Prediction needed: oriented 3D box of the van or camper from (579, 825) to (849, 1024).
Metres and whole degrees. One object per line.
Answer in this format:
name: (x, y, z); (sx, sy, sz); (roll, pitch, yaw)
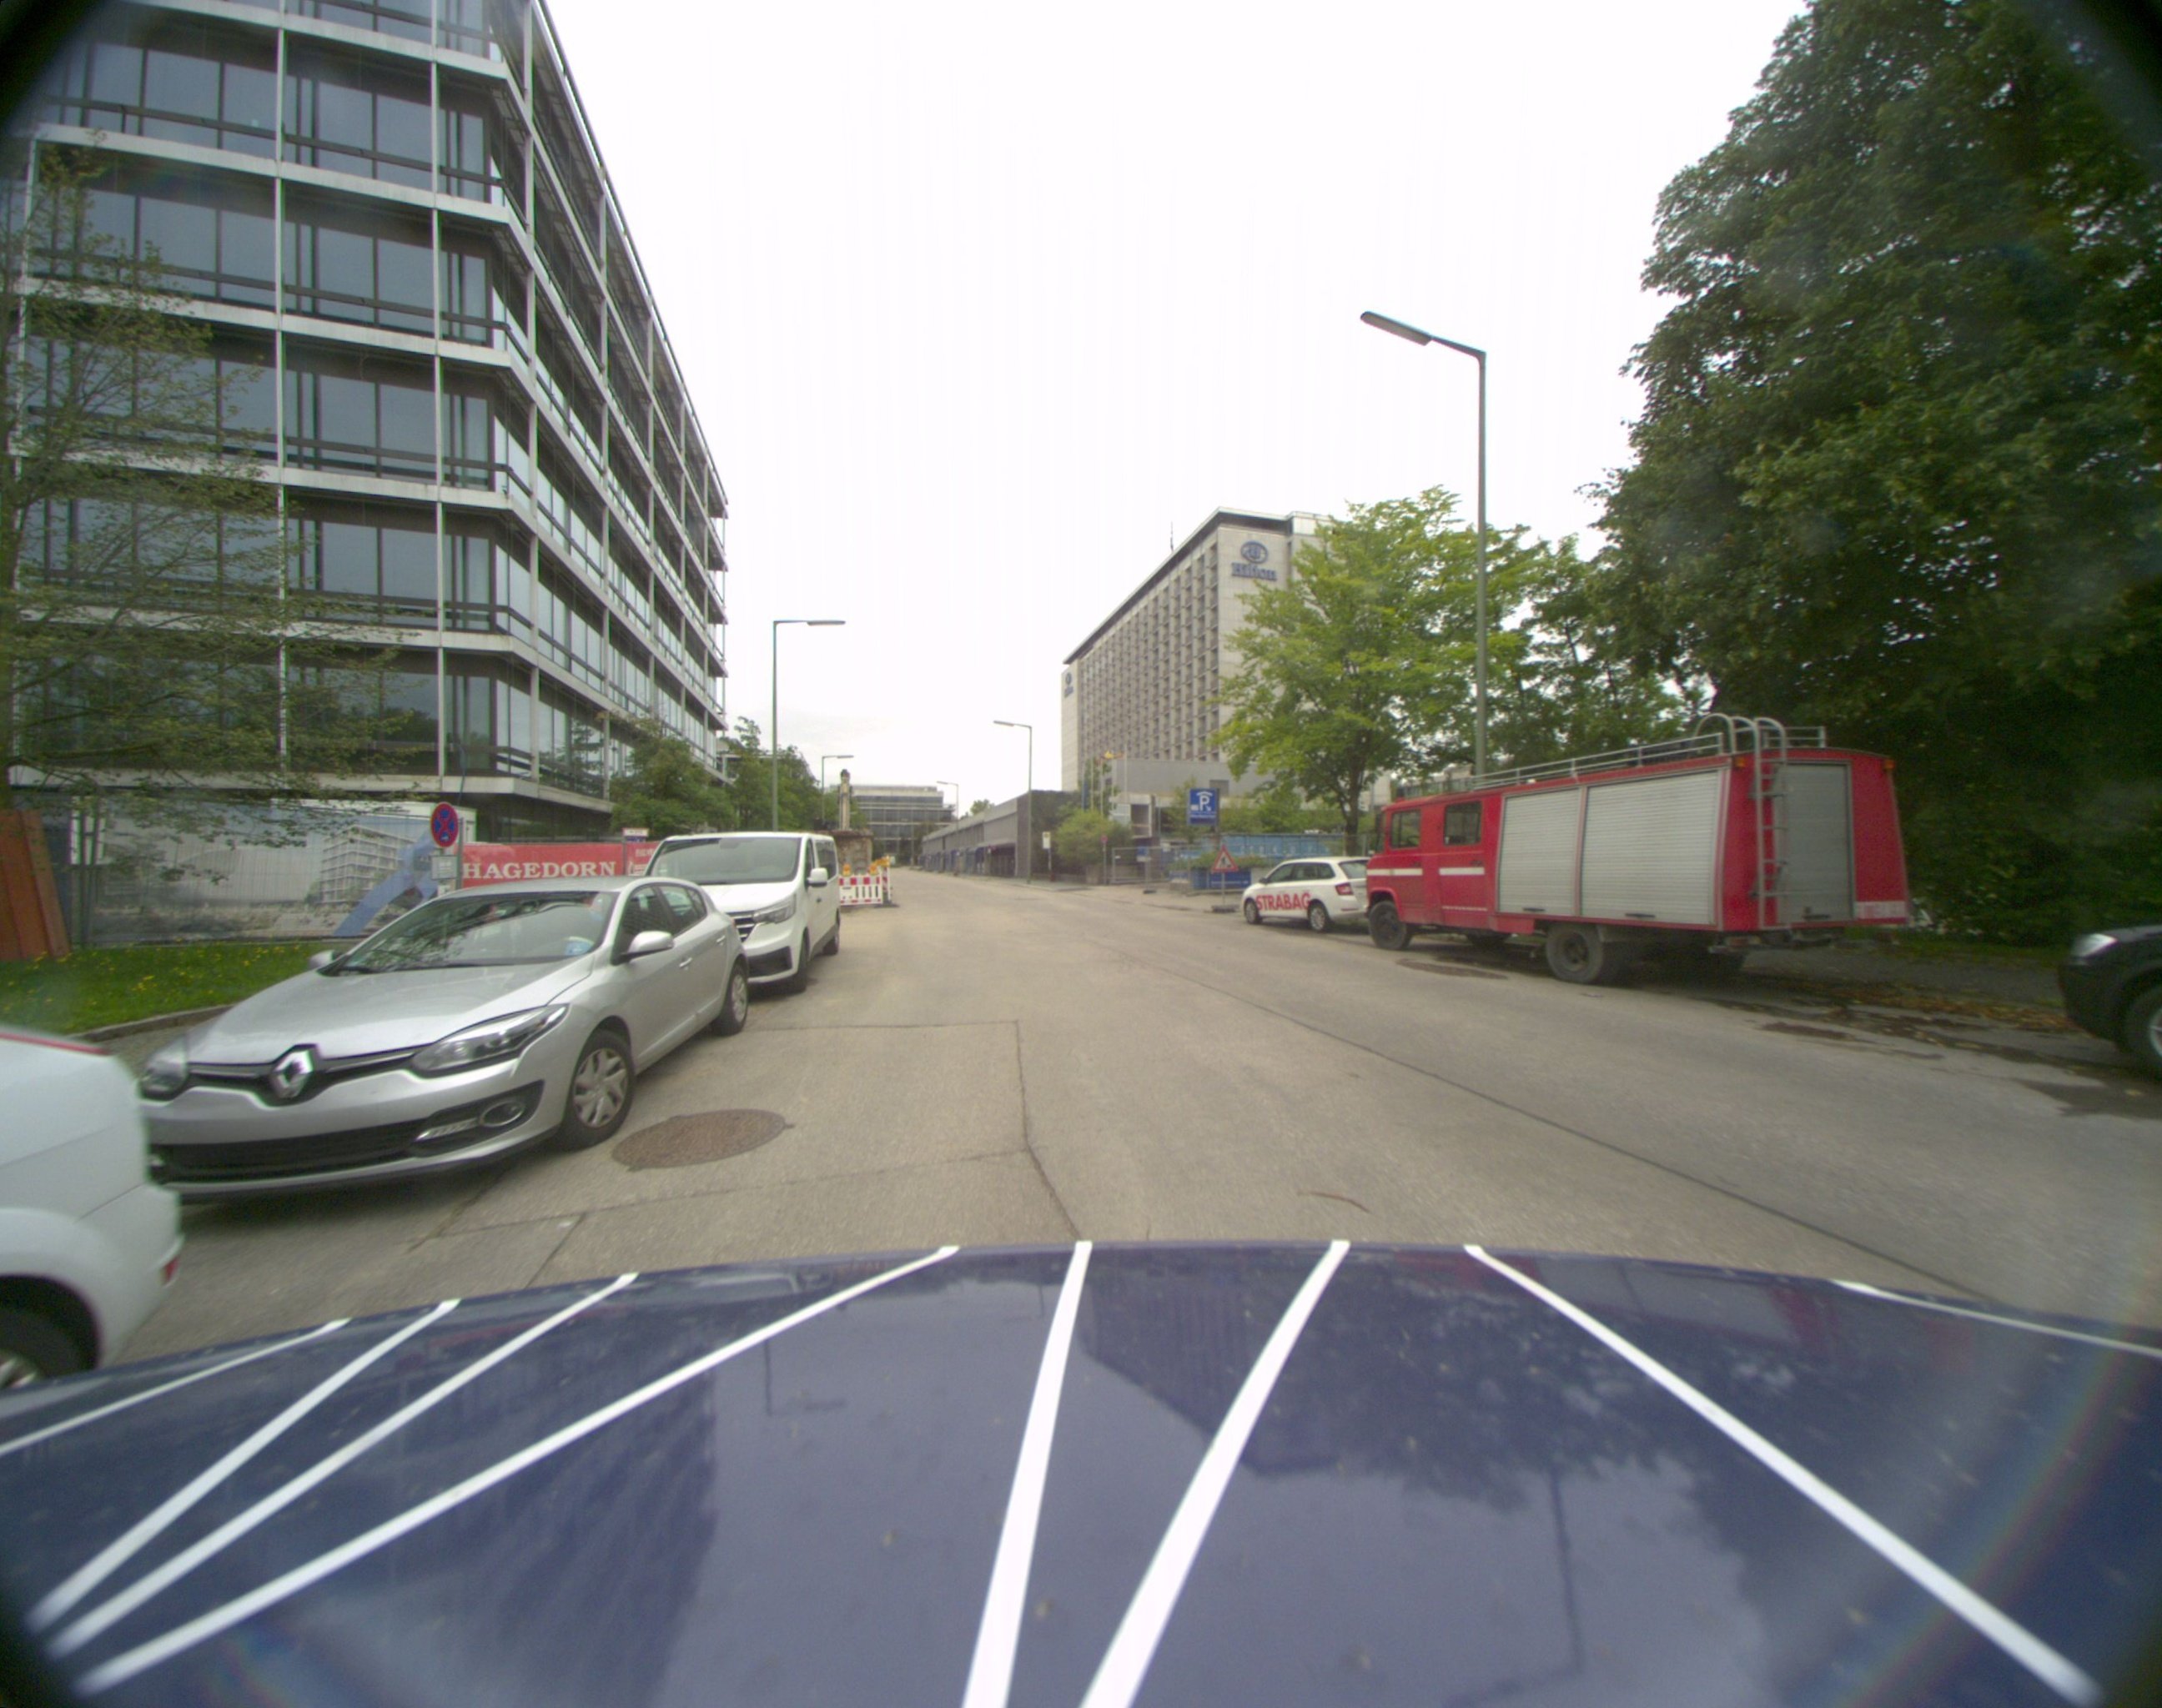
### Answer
van or camper: (-4.543, 0.705, 10.452); (2.000, 2.002, 5.371); (0, 0, -11)

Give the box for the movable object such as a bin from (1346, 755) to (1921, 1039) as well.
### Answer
movable object such as a bin: (6.048, 0.397, 9.780); (2.112, 2.444, 6.180); (0, 0, -12)

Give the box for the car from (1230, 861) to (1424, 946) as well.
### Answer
car: (5.024, 0.931, 16.200); (1.783, 1.540, 4.250); (0, 0, -18)

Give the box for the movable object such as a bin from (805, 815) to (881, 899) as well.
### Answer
movable object such as a bin: (-11.985, 0.139, 38.392); (3.254, 3.695, 8.994); (0, 0, -17)

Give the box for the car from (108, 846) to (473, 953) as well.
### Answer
car: (-15.767, 0.827, 15.520); (4.779, 1.910, 1.997); (-1, 0, -15)

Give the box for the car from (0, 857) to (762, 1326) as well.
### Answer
car: (-3.772, 0.893, 5.107); (2.000, 1.718, 4.446); (0, 0, -9)

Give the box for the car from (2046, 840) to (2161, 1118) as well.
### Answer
car: (7.652, 0.726, 2.976); (1.783, 1.639, 4.455); (0, 0, -14)
